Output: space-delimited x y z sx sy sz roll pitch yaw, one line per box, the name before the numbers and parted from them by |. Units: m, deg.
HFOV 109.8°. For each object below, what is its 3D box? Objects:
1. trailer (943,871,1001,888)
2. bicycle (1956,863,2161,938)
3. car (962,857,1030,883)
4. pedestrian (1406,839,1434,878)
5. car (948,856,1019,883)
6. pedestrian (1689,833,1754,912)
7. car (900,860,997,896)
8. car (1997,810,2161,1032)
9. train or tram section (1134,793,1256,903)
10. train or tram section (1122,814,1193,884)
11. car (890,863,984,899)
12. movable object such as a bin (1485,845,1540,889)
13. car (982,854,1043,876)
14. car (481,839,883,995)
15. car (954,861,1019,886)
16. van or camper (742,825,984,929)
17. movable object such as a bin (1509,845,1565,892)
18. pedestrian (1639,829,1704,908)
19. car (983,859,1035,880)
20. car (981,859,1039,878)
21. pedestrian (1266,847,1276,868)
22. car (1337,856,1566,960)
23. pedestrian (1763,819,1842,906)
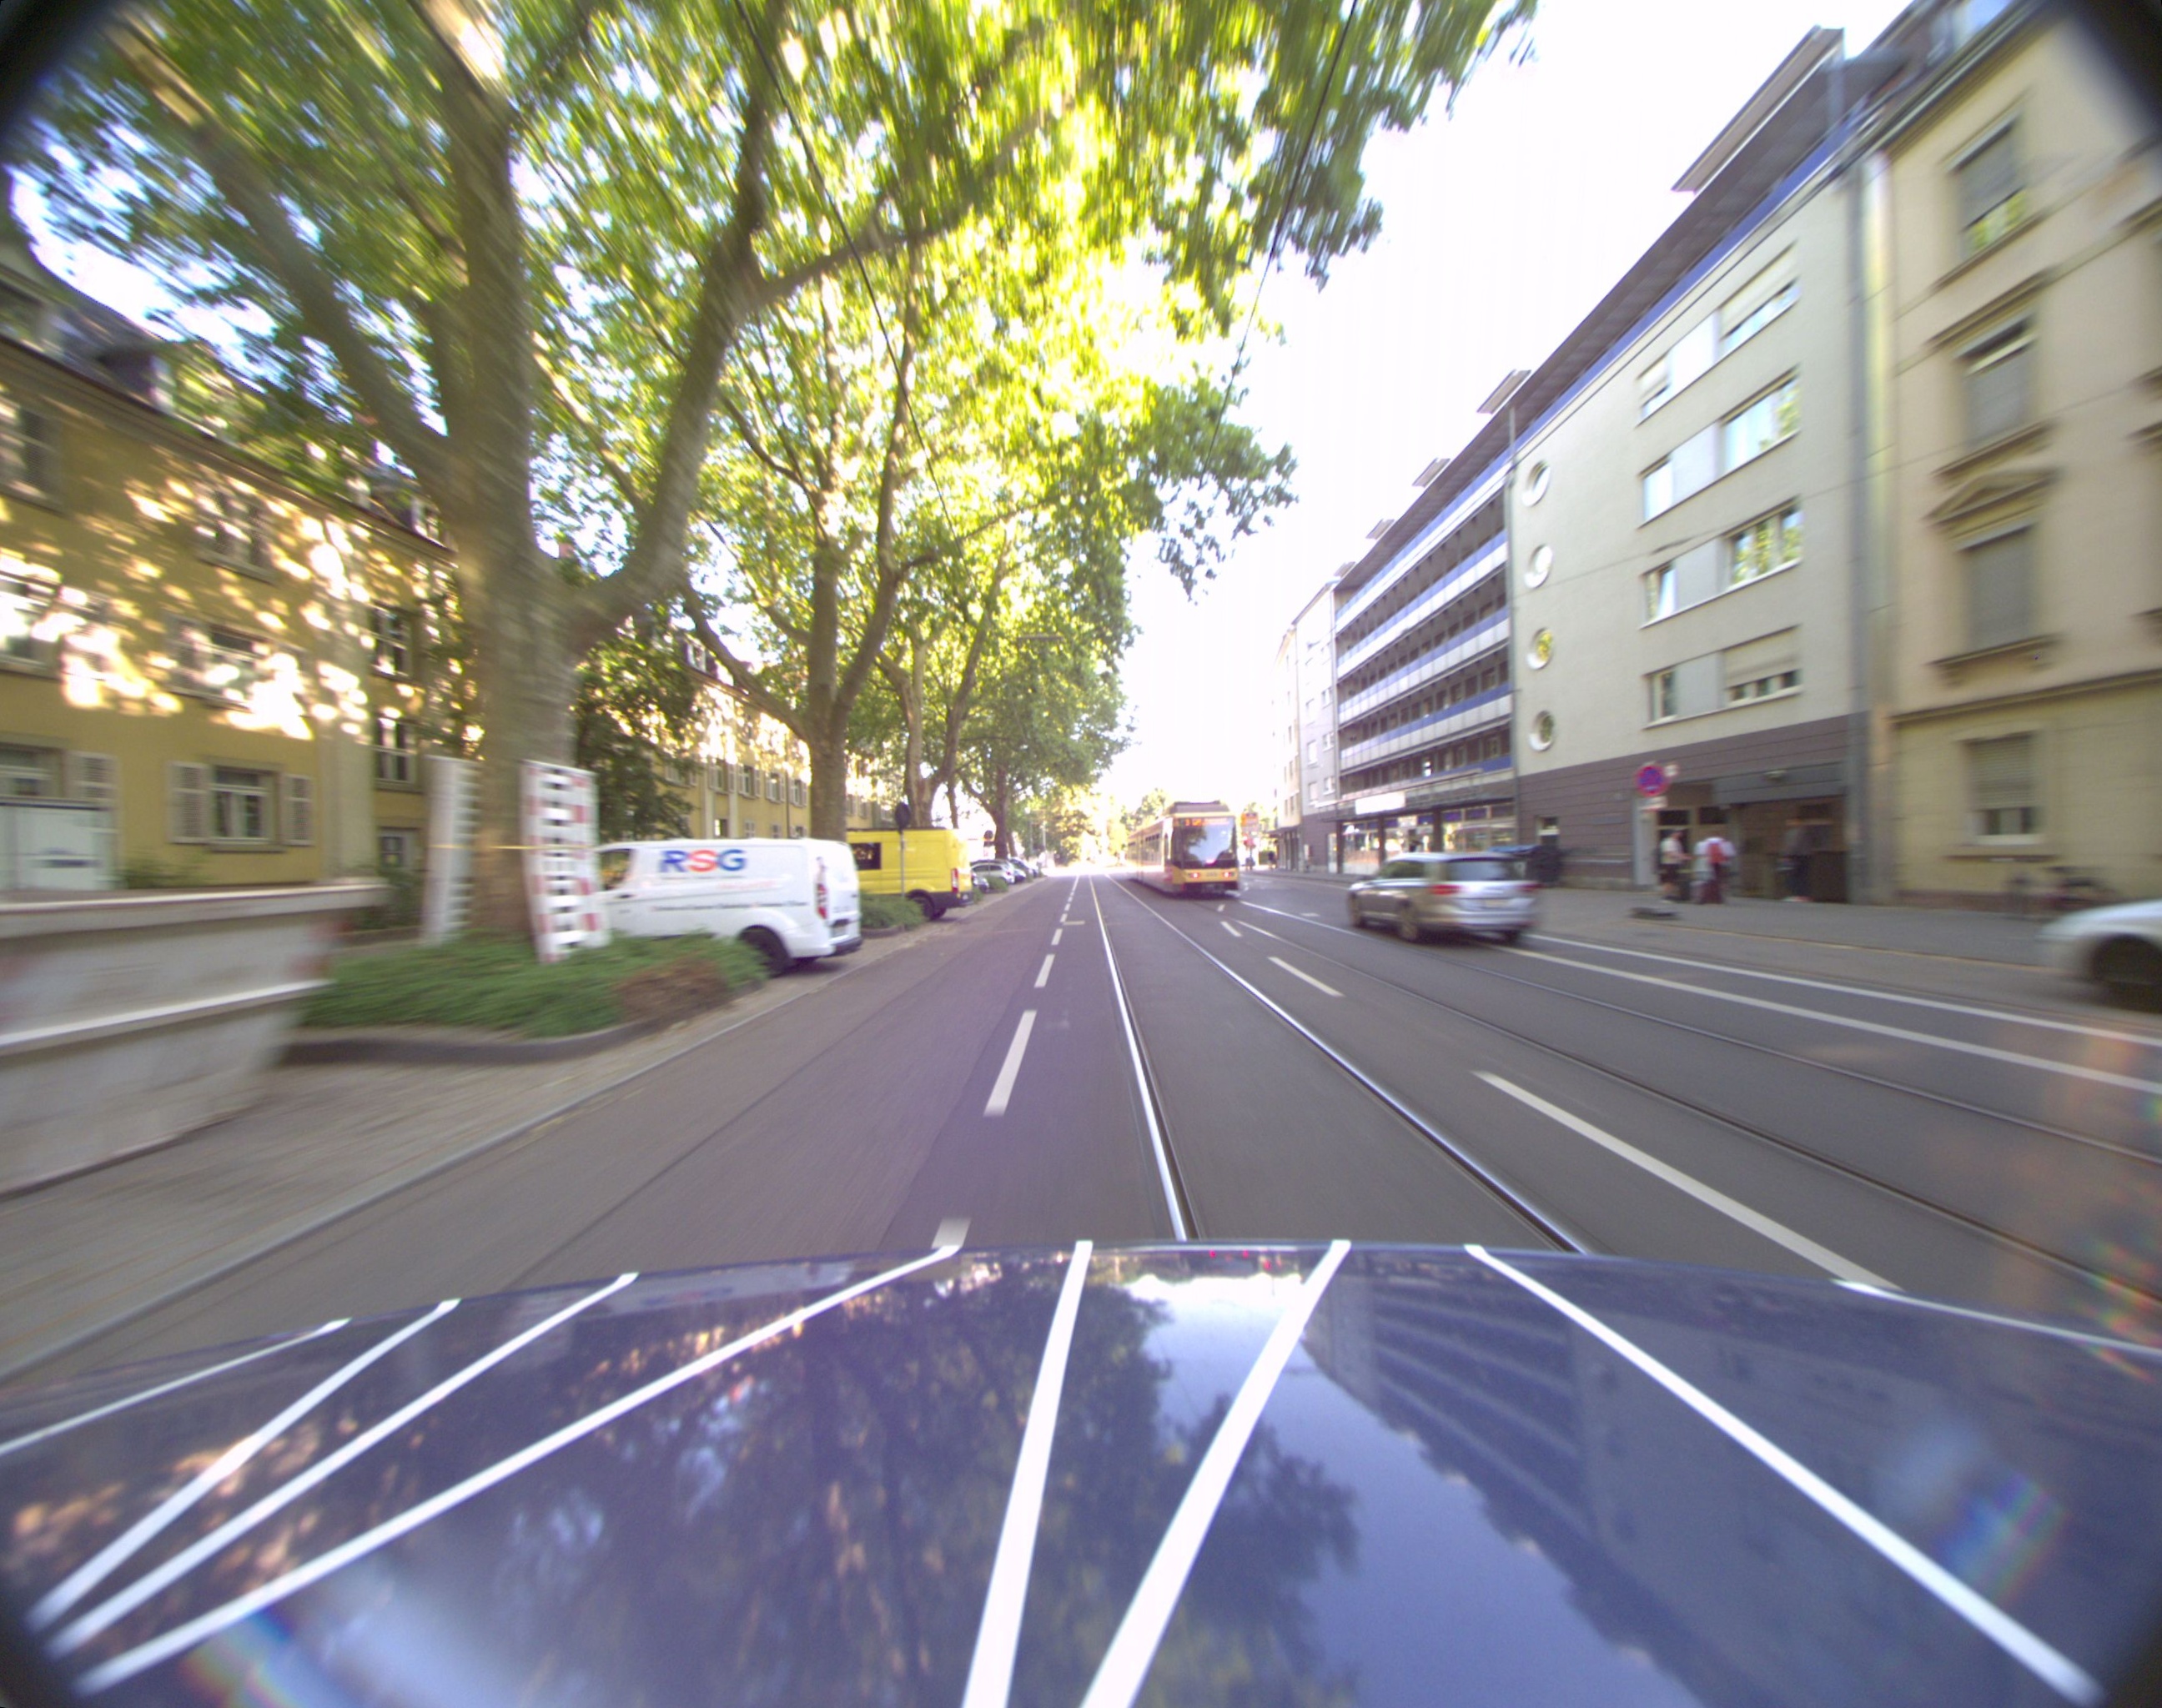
trailer | -6.229 1.443 43.550 3.046 0.898 1.437 0 1 7
bicycle | 14.594 0.647 11.444 0.648 0.965 2.140 -3 0 11
car | -5.745 1.066 51.643 4.437 1.648 1.908 0 1 -1
pedestrian | 15.417 0.213 34.587 0.789 1.703 0.820 -5 1 0
car | -6.296 0.972 49.511 4.318 1.721 1.841 0 0 4
pedestrian | 13.720 0.382 16.296 0.729 1.623 0.687 -4 1 -1
car | -5.987 1.061 34.612 4.087 1.541 1.830 0 1 0
car | 9.550 0.497 4.881 1.793 1.760 4.470 -3 0 -3
train or tram section | 4.164 -0.212 31.511 2.916 3.465 14.197 -2 0 0
train or tram section | 4.245 -0.281 45.343 2.916 3.465 13.368 -2 0 0
car | -5.993 1.122 31.943 3.663 1.418 1.737 -1 0 -3
movable object such as a bin | 14.767 0.423 26.033 1.142 1.442 1.213 -2 0 -4
car | -5.947 0.941 66.067 5.126 1.845 1.914 0 1 0
car | -5.658 0.855 11.294 4.847 2.001 2.063 -1 0 0
car | -5.728 1.160 46.150 3.660 1.416 1.866 1 0 2
van or camper | -5.853 0.582 20.998 5.939 2.614 2.270 -1 1 3
movable object such as a bin | 14.863 0.458 24.802 1.059 1.442 1.210 -2 0 -4
pedestrian | 13.811 0.337 17.801 0.866 1.774 0.736 -3 1 -1
car | -5.464 1.174 58.202 3.891 1.488 1.741 0 0 -3
car | -5.672 1.142 60.978 4.411 1.514 1.818 0 0 1
pedestrian | 15.893 0.295 63.601 0.716 1.664 0.904 -2 1 8
car | 6.126 0.791 13.288 1.800 1.437 4.717 -1 0 1
pedestrian | 15.808 0.183 16.669 0.965 1.803 0.729 -4 1 1
